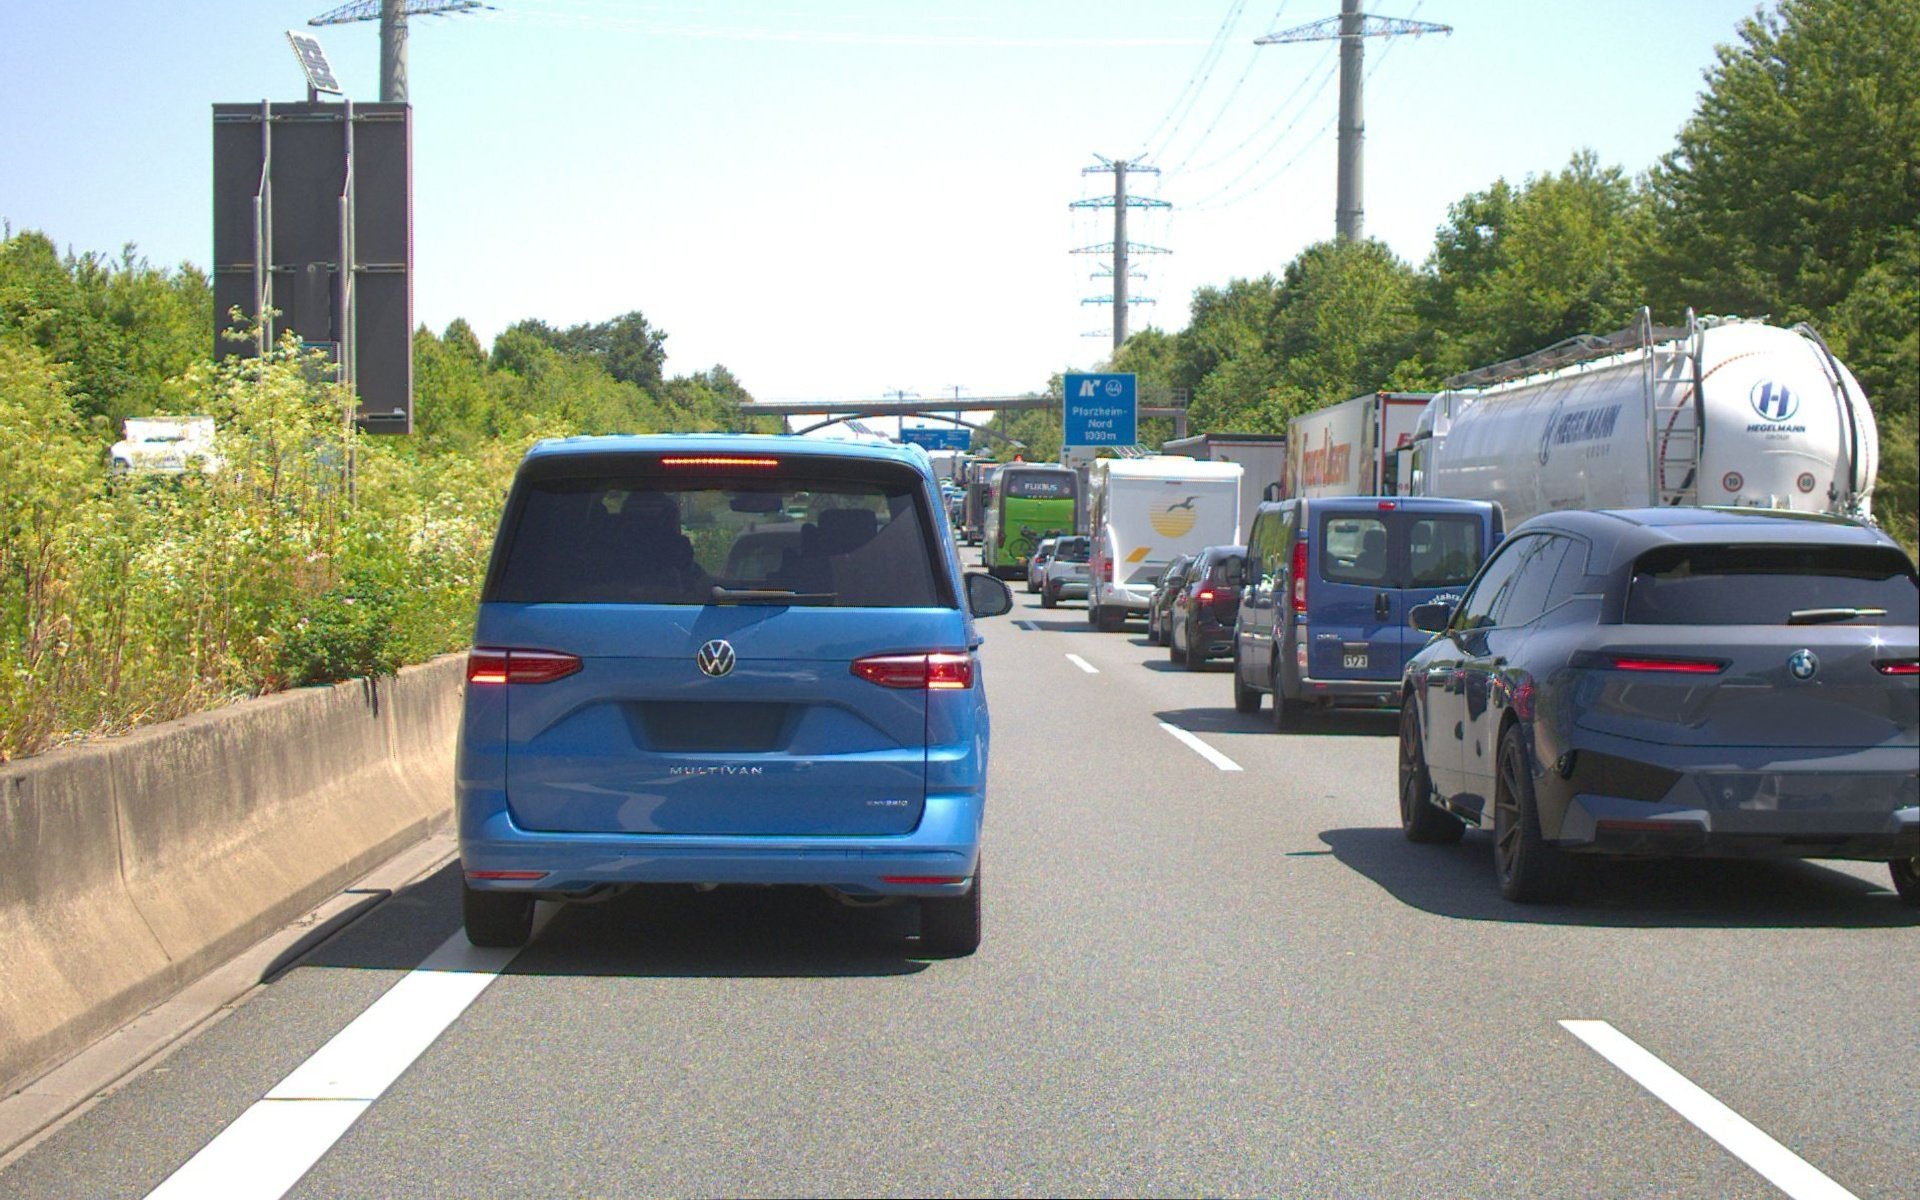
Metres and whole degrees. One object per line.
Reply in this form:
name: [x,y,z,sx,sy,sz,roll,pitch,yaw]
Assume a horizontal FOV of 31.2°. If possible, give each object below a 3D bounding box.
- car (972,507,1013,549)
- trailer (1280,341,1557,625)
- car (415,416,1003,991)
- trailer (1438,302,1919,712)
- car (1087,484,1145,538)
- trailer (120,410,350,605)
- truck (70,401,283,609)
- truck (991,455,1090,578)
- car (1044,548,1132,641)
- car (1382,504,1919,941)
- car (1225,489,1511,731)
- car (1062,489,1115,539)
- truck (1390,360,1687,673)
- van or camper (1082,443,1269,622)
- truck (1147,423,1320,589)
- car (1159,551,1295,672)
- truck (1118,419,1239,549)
car: [1.713,-3.744,179.937,1.993,2.118,4.000,0,1,-1]
trailer: [7.758,-1.924,60.015,2.912,4.453,12.155,0,1,-1]
car: [-0.872,0.308,13.522,1.920,1.880,4.000,2,1,-1]
trailer: [7.586,-0.957,37.909,2.761,3.831,11.487,0,1,-1]
car: [5.980,-3.429,132.440,1.993,2.007,4.000,0,1,-1]
trailer: [-16.682,-2.058,79.971,3.011,4.213,10.981,0,1,0]
truck: [-16.644,-1.979,73.493,3.011,4.213,6.686,0,1,0]
truck: [2.507,-2.623,110.629,2.895,3.753,10.140,0,1,0]
car: [2.826,-0.121,76.574,1.836,1.991,4.000,-1,0,1]
car: [3.225,0.471,15.751,1.999,1.709,4.625,0,0,0]
car: [3.444,0.075,29.764,1.923,1.919,4.236,-1,0,0]
car: [5.317,-3.540,142.748,1.993,2.007,4.000,0,1,-1]
truck: [7.414,-1.064,44.775,2.793,3.823,5.572,0,1,-1]
van or camper: [3.764,-1.176,61.587,2.957,3.011,7.103,0,1,1]
truck: [6.657,-2.224,86.203,3.006,3.753,15.713,0,1,0]
car: [3.301,0.131,42.978,1.360,1.415,3.885,-1,0,0]
truck: [6.767,-3.521,108.351,2.895,3.753,13.345,0,1,0]
